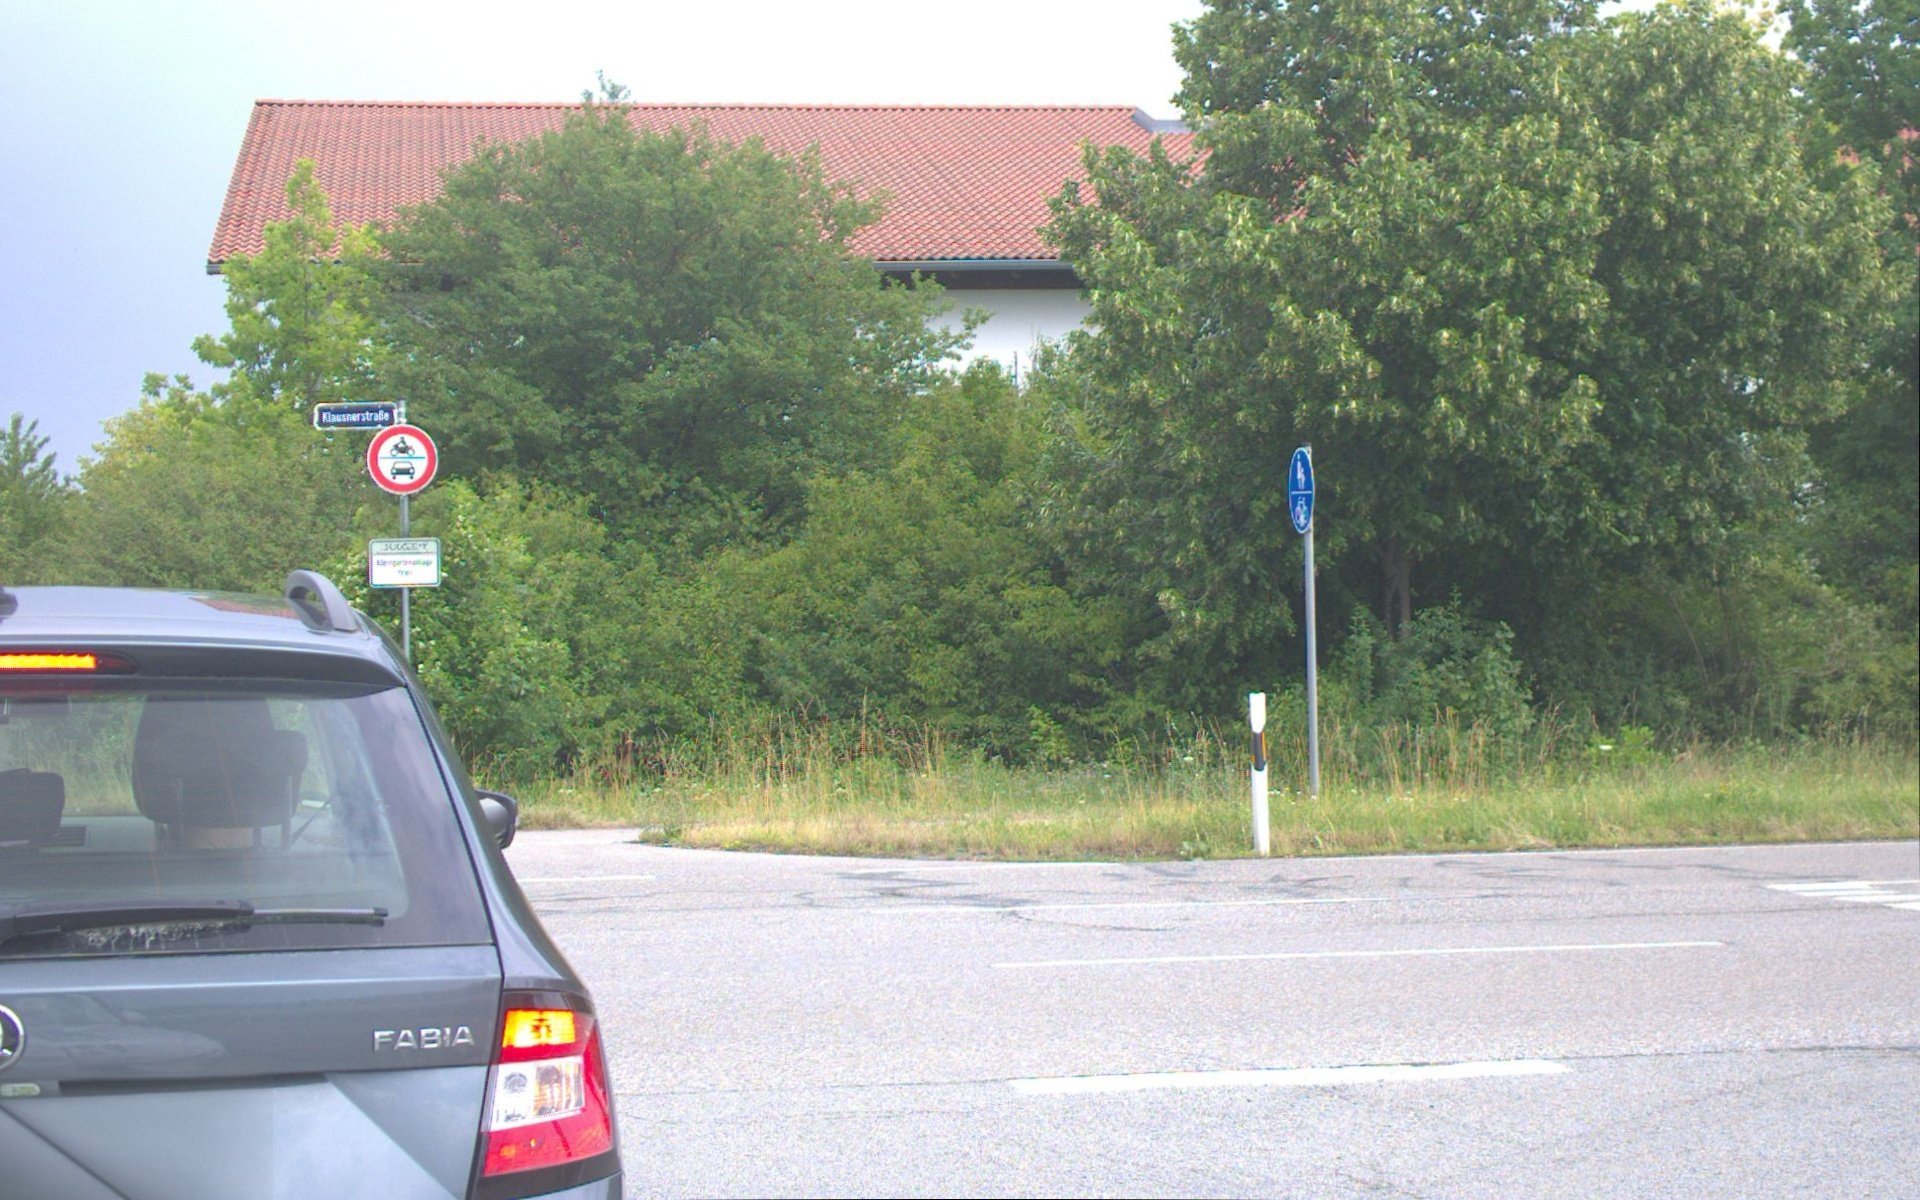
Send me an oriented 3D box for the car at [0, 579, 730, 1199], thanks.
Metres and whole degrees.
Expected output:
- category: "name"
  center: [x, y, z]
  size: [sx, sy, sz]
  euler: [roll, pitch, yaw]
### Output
- category: "car"
  center: [-1.584, 0.725, 5.455]
  size: [1.676, 1.458, 3.708]
  euler: [0, 0, -16]
